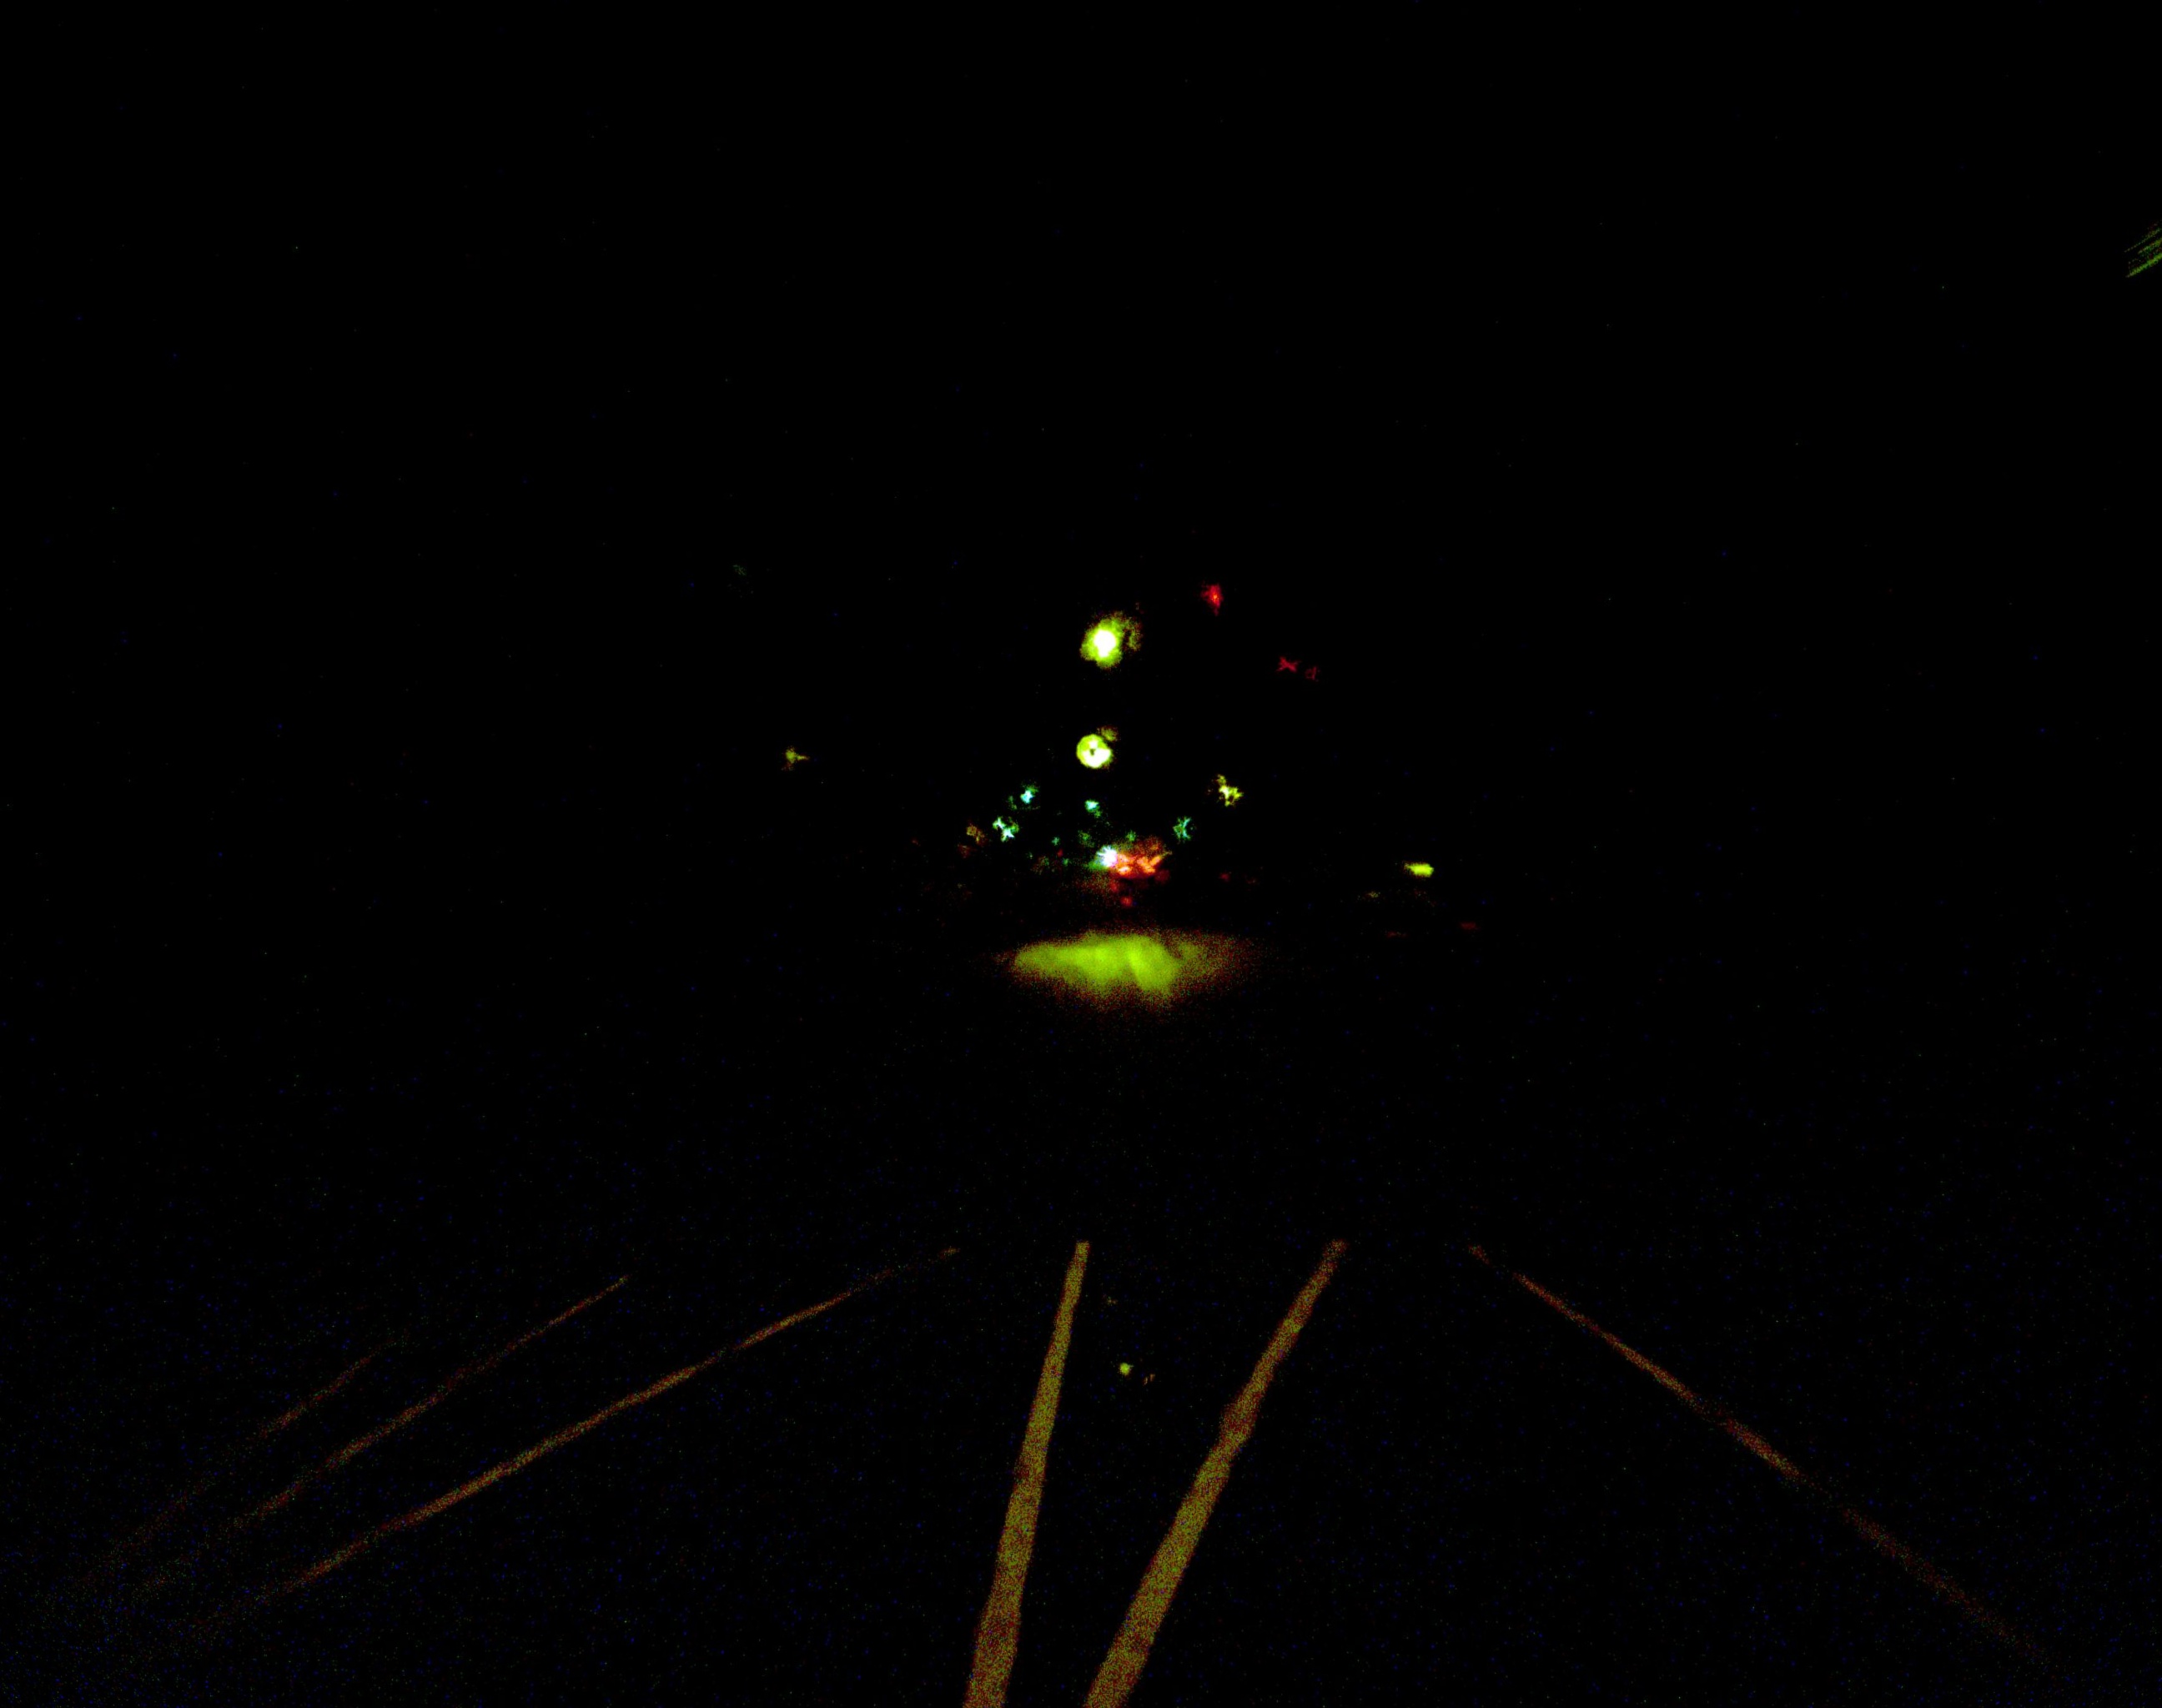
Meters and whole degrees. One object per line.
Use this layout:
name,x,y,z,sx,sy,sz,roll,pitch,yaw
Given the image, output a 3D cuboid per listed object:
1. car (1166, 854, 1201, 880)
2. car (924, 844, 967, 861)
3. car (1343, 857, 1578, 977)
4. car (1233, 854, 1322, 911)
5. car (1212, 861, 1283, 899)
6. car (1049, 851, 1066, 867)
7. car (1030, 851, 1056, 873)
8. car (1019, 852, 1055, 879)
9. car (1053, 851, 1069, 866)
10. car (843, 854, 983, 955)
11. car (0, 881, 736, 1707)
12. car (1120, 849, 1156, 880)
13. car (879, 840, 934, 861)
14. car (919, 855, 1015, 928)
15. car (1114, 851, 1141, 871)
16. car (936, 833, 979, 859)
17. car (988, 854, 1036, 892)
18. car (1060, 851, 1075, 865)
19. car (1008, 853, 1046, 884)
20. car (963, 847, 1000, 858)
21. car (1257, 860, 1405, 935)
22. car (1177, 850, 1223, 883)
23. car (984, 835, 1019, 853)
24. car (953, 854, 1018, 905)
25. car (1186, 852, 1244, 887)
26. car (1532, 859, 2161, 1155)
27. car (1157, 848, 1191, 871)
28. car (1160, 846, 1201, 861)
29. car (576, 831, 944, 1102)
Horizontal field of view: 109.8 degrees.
car,6.036,0.734,45.132,1.627,1.464,3.963,1,0,2
car,-12.483,-0.126,70.127,3.663,1.448,1.666,1,0,1
car,5.763,0.837,12.222,1.670,1.531,4.391,1,0,1
car,5.840,0.795,23.074,1.710,1.531,4.059,2,0,1
car,6.197,0.937,28.768,1.843,1.261,4.638,1,0,2
car,-2.339,0.493,75.111,1.695,1.581,3.765,1,0,-2
car,-2.892,0.588,58.311,1.896,1.581,3.834,1,0,-2
car,-2.716,0.679,47.818,1.799,1.539,4.785,1,0,2
car,-2.177,0.470,80.547,1.649,1.581,3.445,1,0,-2
car,-2.858,0.784,13.764,1.800,1.539,3.950,1,0,-2
car,-2.977,0.926,2.657,1.800,1.483,4.127,1,0,-2
car,3.057,0.531,41.180,1.710,1.531,4.370,1,0,1
car,-14.348,-0.297,62.566,4.090,1.697,1.666,1,0,4
car,-2.698,0.820,19.071,1.873,1.570,4.746,1,0,-2
car,3.795,0.536,62.870,2.044,1.539,4.683,-1,0,2
car,-12.577,-0.807,77.560,4.022,2.603,1.802,1,1,7
car,-2.812,0.760,31.811,1.800,1.464,3.950,1,0,-2
car,-1.645,0.442,90.476,1.695,1.581,3.765,1,0,-1
car,-2.669,0.675,38.251,1.608,1.464,3.951,1,0,0
car,-11.829,-0.132,90.240,4.022,1.261,1.802,1,0,7
car,5.519,0.888,17.451,1.624,1.410,4.674,1,0,-3
car,6.105,0.608,39.352,1.628,1.564,3.962,2,1,-1
car,-9.922,-1.268,95.280,4.022,2.156,1.802,1,0,7
car,-3.063,0.777,25.135,1.800,1.539,3.950,1,0,-2
car,5.879,0.643,33.737,1.799,1.464,4.396,1,0,0
car,5.892,0.832,6.229,1.670,1.531,4.390,1,0,-2
car,6.177,0.368,51.065,1.628,1.464,4.547,1,0,-1
car,11.559,-0.071,88.276,4.539,1.696,1.852,1,0,15
car,-2.829,0.806,8.392,1.800,1.938,5.852,1,0,-2
